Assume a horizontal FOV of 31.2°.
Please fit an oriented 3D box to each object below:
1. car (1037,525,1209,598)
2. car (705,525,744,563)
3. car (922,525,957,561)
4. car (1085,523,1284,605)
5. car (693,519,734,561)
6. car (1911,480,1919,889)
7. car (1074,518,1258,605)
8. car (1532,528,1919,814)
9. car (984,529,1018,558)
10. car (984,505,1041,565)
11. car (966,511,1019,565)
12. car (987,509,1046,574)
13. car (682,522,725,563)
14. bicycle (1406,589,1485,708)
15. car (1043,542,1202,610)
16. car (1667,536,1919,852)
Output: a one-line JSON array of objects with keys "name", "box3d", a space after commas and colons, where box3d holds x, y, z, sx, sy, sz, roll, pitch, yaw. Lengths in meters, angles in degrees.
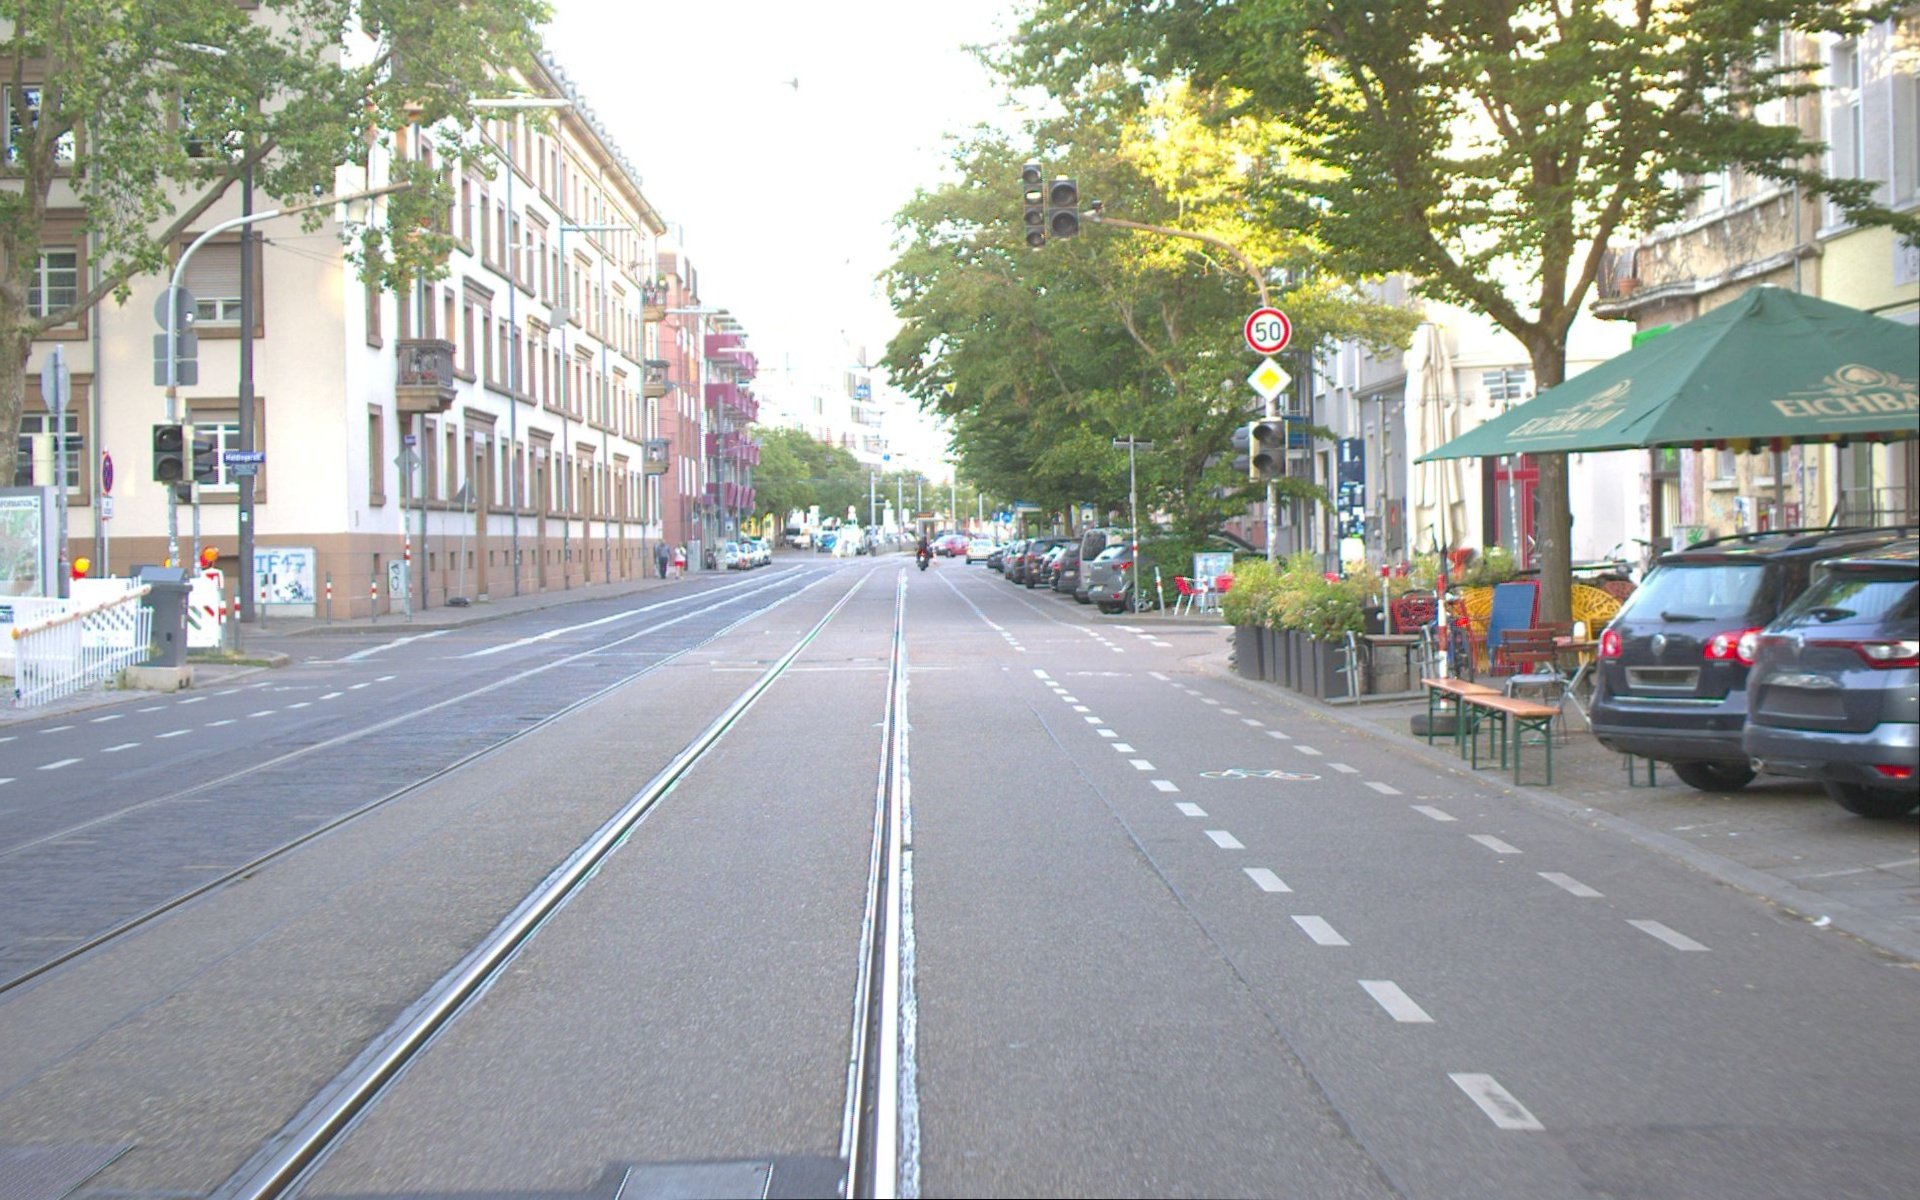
[{"name": "car", "box3d": [3.745, -0.895, 79.472, 3.887, 1.655, 1.861, 0, 1, 0]}, {"name": "car", "box3d": [-12.660, -3.006, 185.057, 1.898, 2.007, 4.000, 0, 1, -1]}, {"name": "car", "box3d": [-1.164, -3.231, 194.420, 1.898, 2.007, 4.000, 0, 1, -1]}, {"name": "car", "box3d": [4.498, -0.740, 69.341, 3.887, 1.587, 1.861, -1, 1, 0]}, {"name": "car", "box3d": [-12.837, -3.139, 179.496, 1.898, 2.171, 4.000, 0, 1, -1]}, {"name": "car", "box3d": [6.082, 0.319, 13.670, 4.011, 1.702, 1.818, -1, 1, -7]}, {"name": "car", "box3d": [4.442, -0.836, 74.675, 3.887, 1.842, 1.861, 0, 1, 0]}, {"name": "car", "box3d": [5.662, 0.325, 19.991, 4.174, 1.493, 2.009, -2, 1, -25]}, {"name": "car", "box3d": [2.451, -3.414, 205.870, 1.963, 1.713, 4.000, 0, 1, -1]}, {"name": "car", "box3d": [1.785, -2.225, 117.902, 1.804, 2.007, 4.000, 0, 1, -1]}, {"name": "car", "box3d": [1.231, -2.362, 130.822, 1.898, 2.007, 4.000, 0, 1, -1]}, {"name": "car", "box3d": [1.765, -1.846, 108.317, 1.721, 2.007, 4.000, 0, 1, -1]}, {"name": "car", "box3d": [-13.028, -2.931, 174.852, 1.898, 2.007, 4.000, 0, 1, -1]}, {"name": "bicycle", "box3d": [4.372, 0.424, 31.035, 0.418, 1.012, 1.830, 0, 1, -1]}, {"name": "car", "box3d": [4.023, -0.600, 85.577, 3.887, 1.655, 1.861, 0, 1, 0]}, {"name": "car", "box3d": [5.977, 0.373, 17.502, 4.174, 1.457, 2.009, -2, 1, -16]}]
